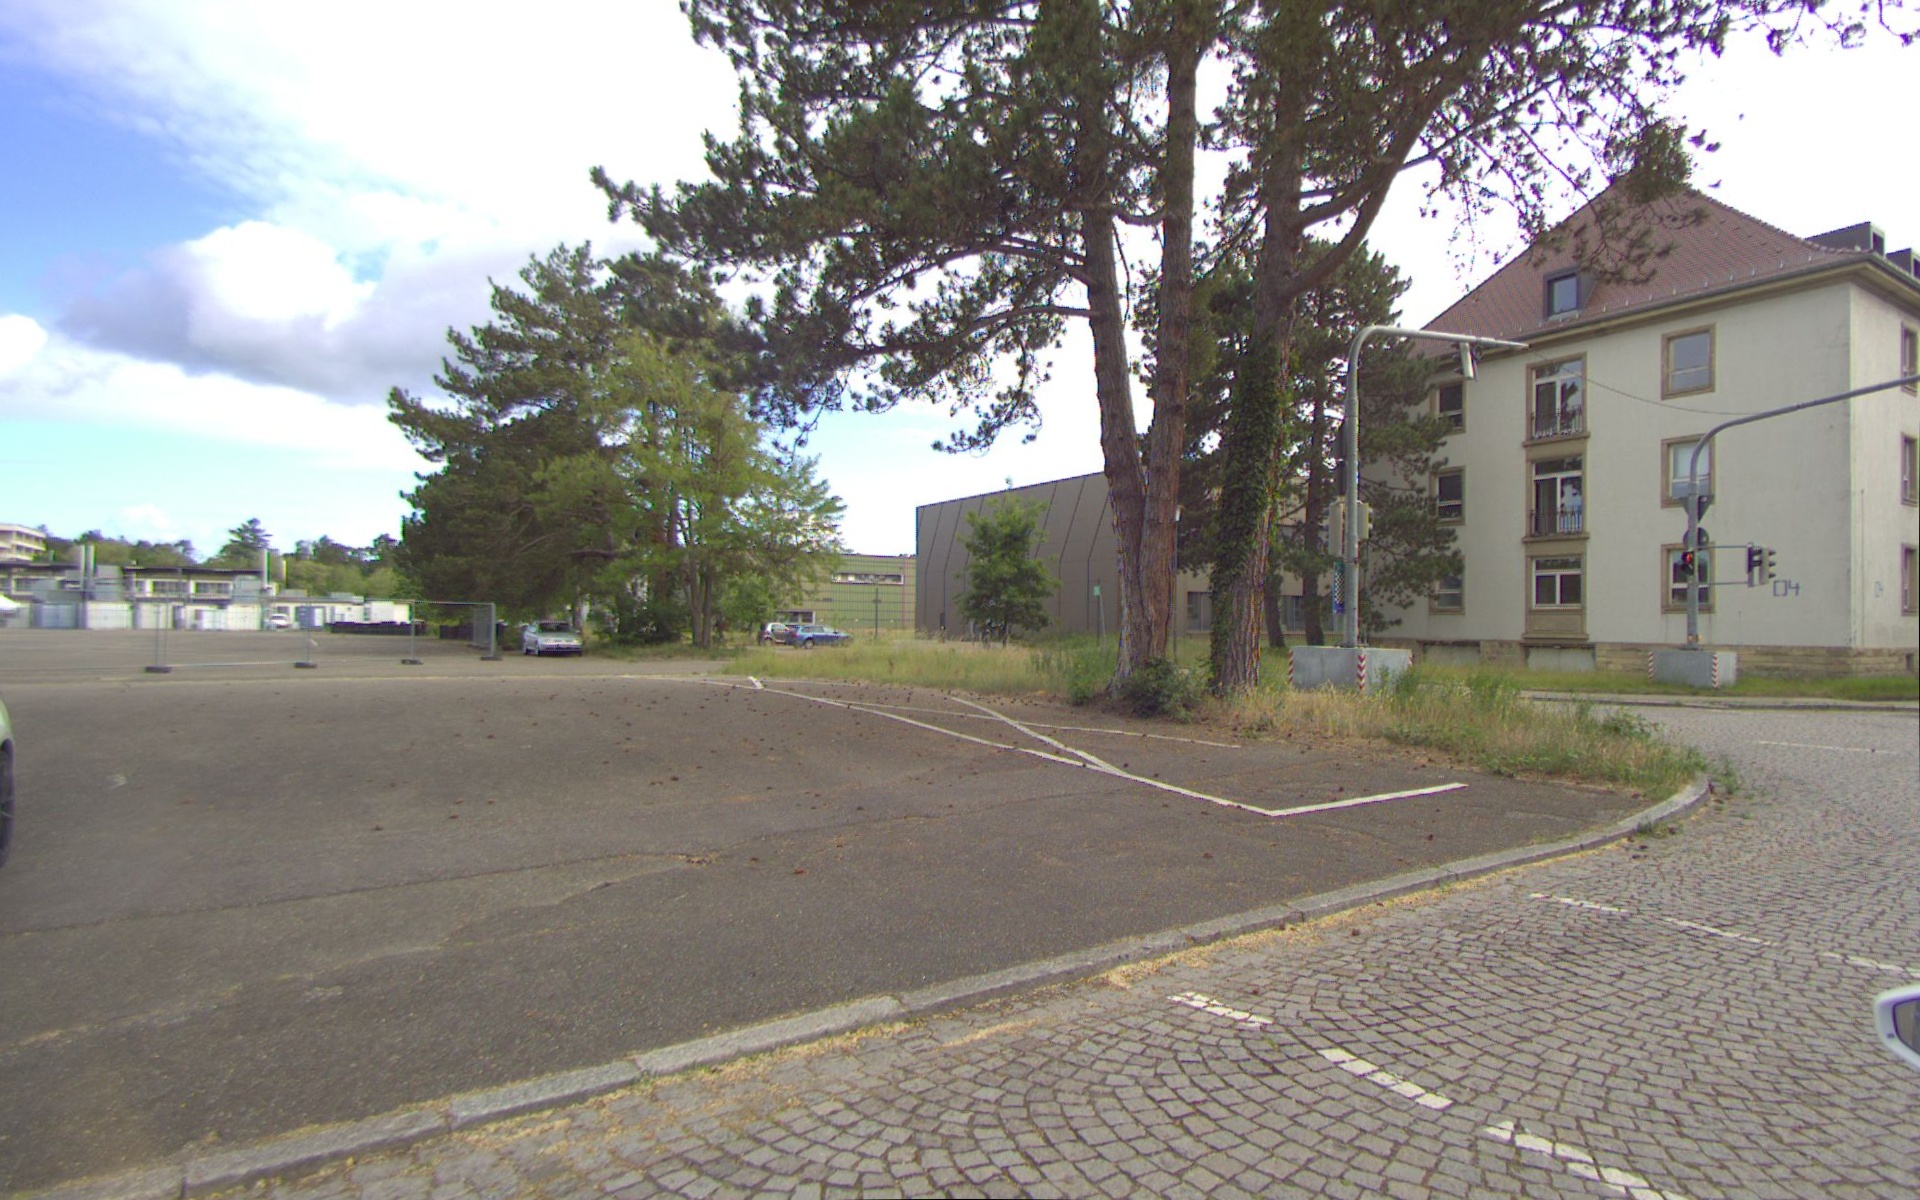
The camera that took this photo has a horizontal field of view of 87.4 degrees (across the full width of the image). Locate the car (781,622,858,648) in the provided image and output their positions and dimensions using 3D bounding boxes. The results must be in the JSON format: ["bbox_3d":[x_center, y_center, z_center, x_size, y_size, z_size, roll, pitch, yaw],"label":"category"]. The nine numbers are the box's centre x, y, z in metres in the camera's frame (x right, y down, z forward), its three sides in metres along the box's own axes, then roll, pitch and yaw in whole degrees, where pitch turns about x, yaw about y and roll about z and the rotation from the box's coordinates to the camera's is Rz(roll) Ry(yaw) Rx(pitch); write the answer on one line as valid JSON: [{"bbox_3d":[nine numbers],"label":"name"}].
[{"bbox_3d":[-8.833,2.187,63.176,4.450,1.482,1.916,0,0,-35],"label":"car"}]

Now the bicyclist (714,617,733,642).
[{"bbox_3d":[-15.000,1.849,63.646,0.891,1.562,0.860,2,0,-34],"label":"bicyclist"}]

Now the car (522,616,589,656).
[{"bbox_3d":[-16.467,1.453,40.784,1.717,1.451,4.123,2,-1,-33],"label":"car"}]

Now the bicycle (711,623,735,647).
[{"bbox_3d":[-15.027,2.208,63.679,0.818,1.395,2.023,2,-1,-33],"label":"bicycle"}]

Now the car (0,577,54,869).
[{"bbox_3d":[-5.224,0.654,3.914,1.847,1.508,4.709,0,1,-34],"label":"car"}]

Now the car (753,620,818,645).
[{"bbox_3d":[-12.134,2.234,69.840,4.079,1.593,1.748,0,0,-35],"label":"car"}]
